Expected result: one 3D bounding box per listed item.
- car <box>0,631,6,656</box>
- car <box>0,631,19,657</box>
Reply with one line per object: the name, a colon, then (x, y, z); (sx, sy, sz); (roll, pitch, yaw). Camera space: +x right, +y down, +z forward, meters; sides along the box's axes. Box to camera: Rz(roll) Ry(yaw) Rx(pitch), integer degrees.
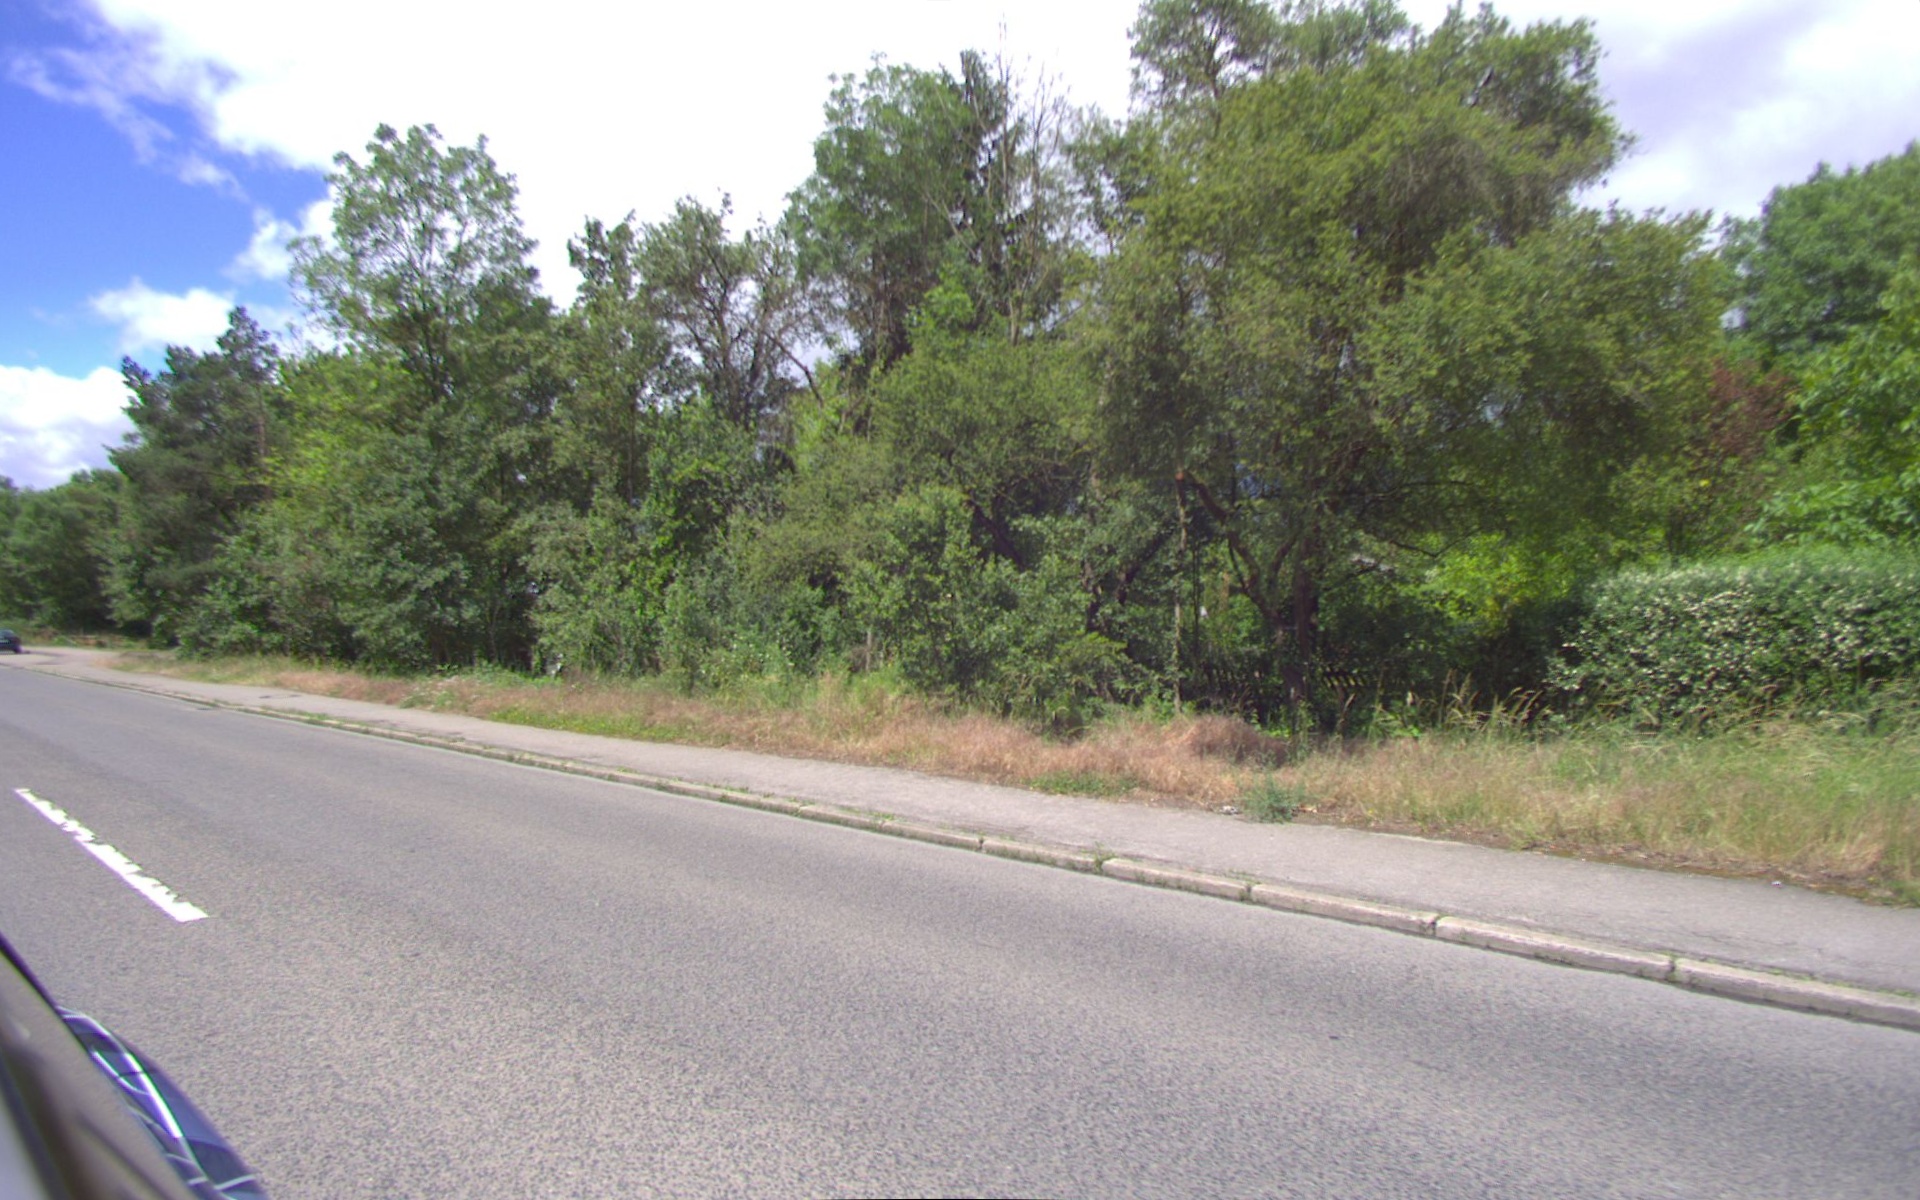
car: (-59.807, 2.656, 61.775); (4.242, 1.481, 1.750); (-1, 0, 40)
car: (-54.146, 2.464, 56.774); (4.266, 1.418, 1.748); (-1, 0, 44)
